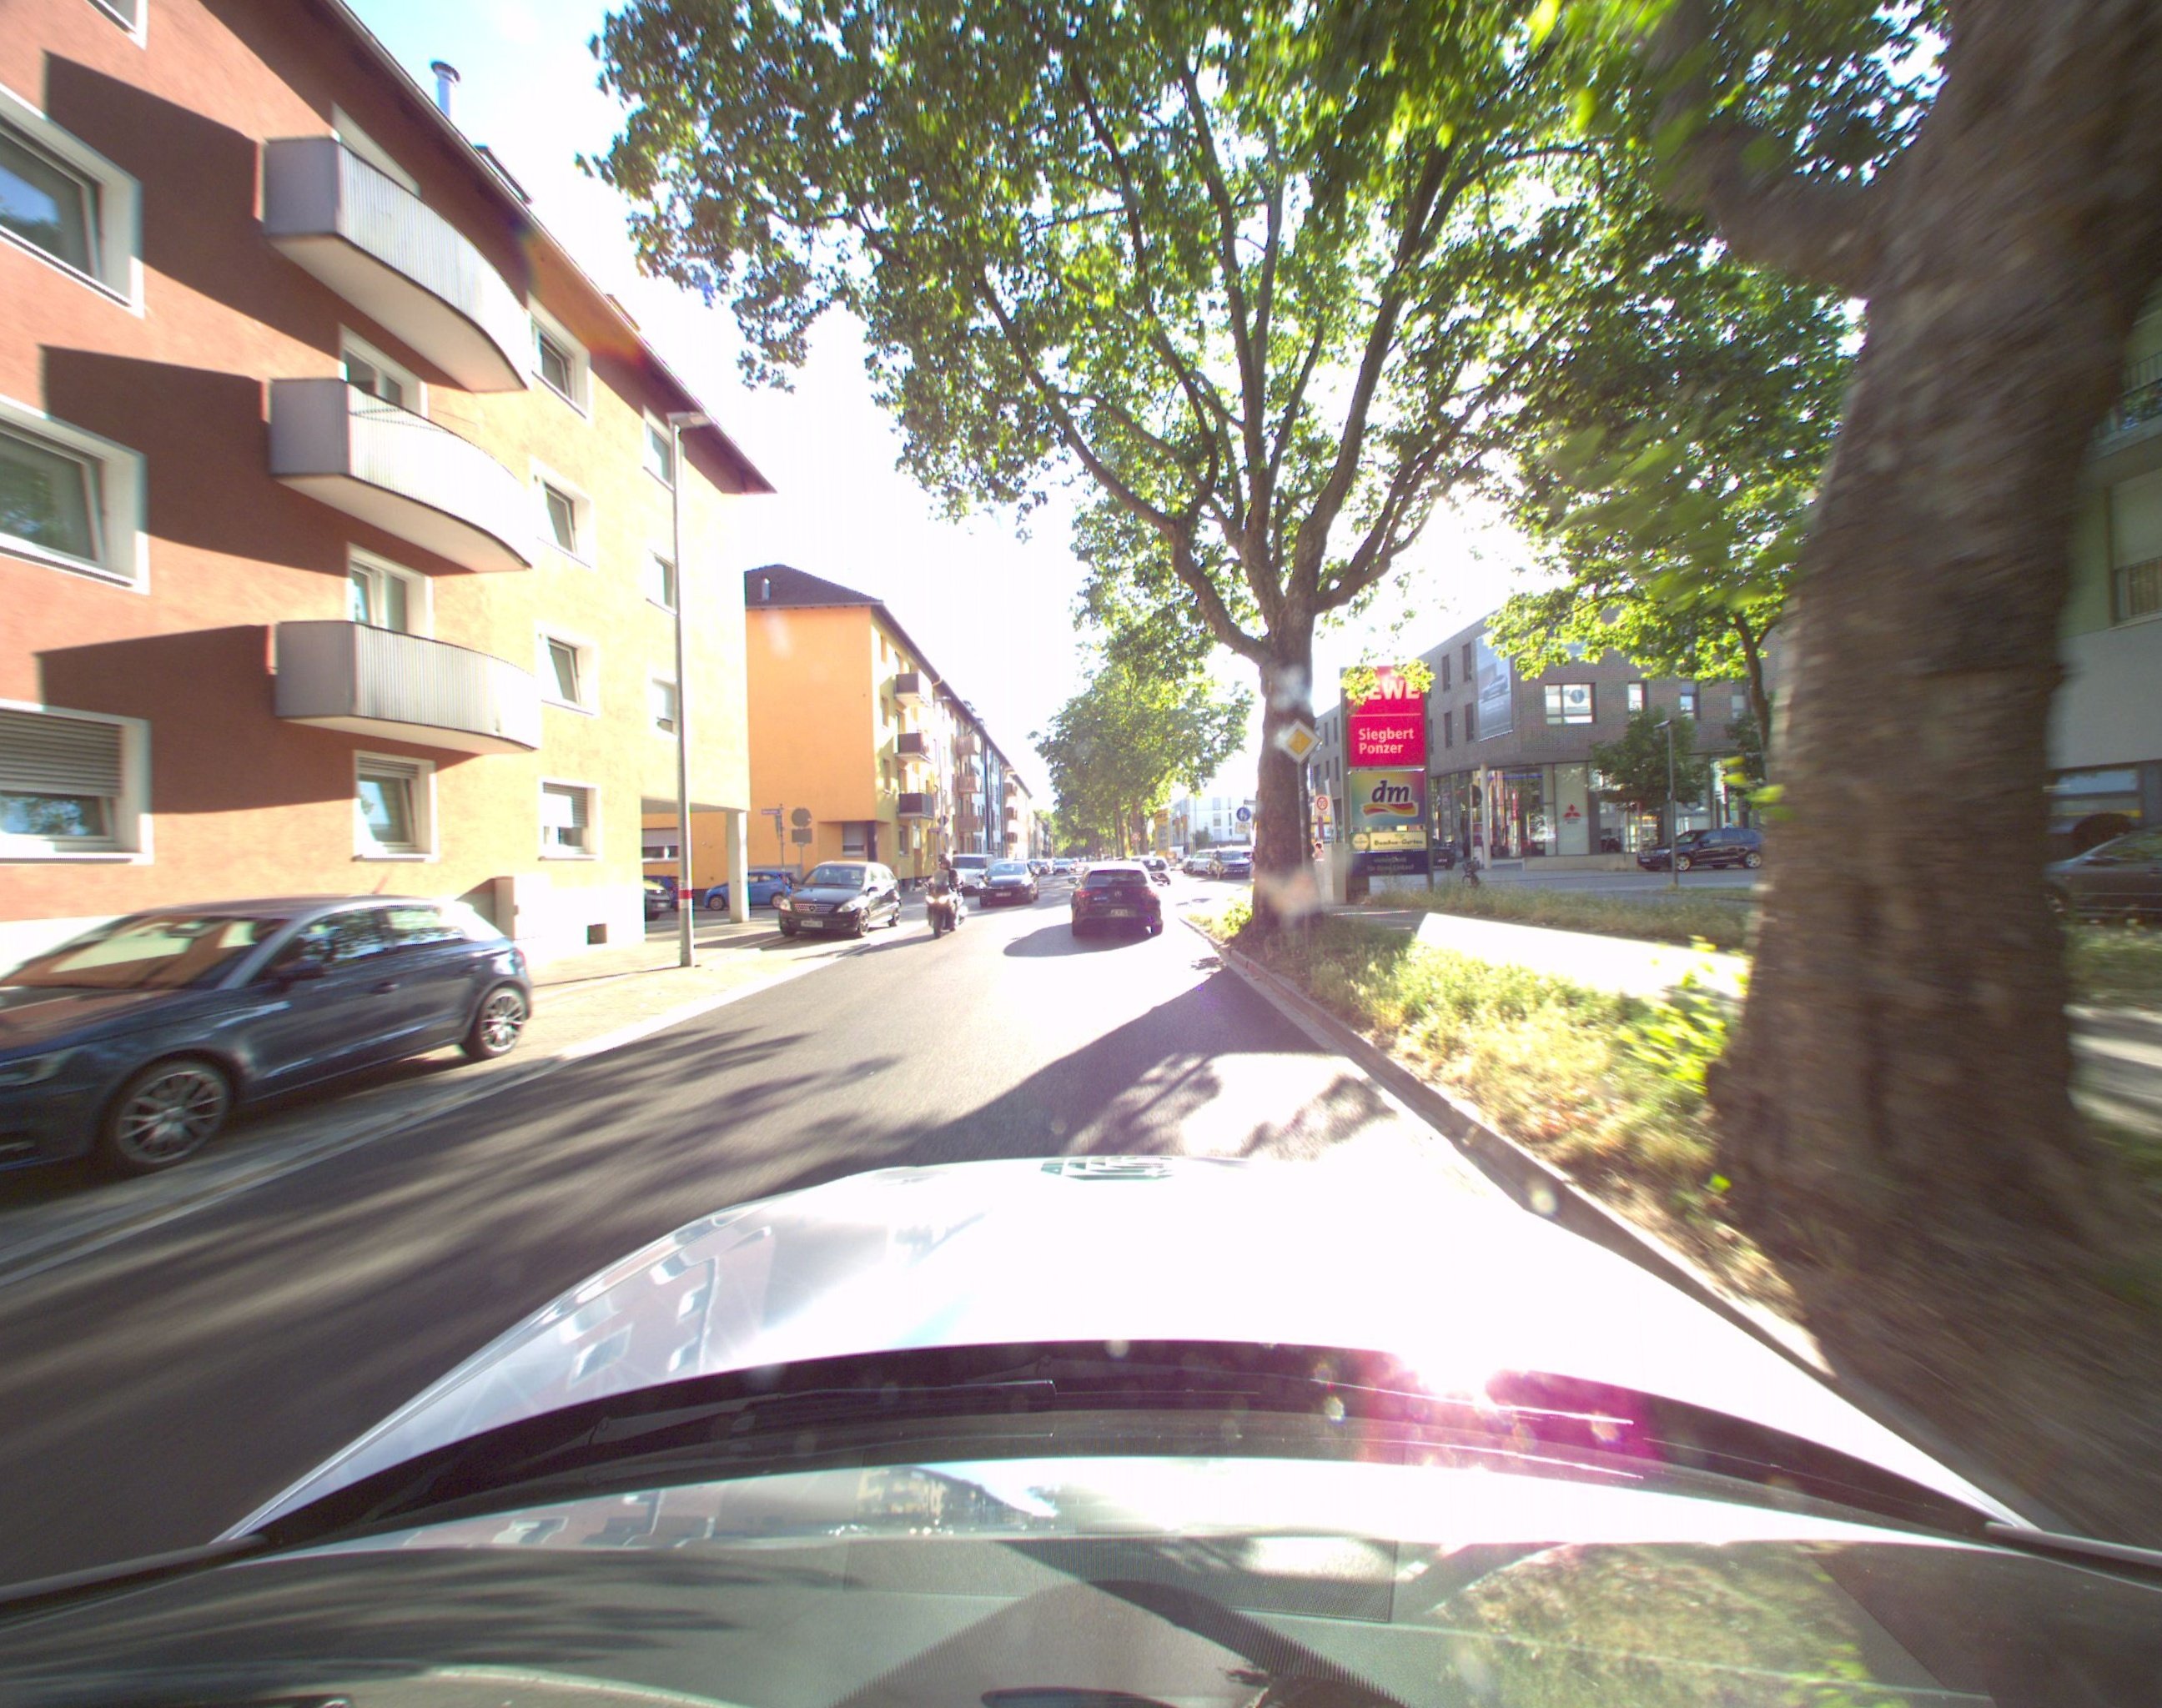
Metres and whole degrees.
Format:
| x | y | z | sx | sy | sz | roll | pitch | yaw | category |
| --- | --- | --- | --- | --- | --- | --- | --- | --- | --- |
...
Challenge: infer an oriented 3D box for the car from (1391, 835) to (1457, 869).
| x | y | z | sx | sy | sz | roll | pitch | yaw | category |
| --- | --- | --- | --- | --- | --- | --- | --- | --- | --- |
| 18.970 | -0.089 | 45.244 | 1.978 | 1.733 | 4.182 | -2 | 0 | 1 | car |

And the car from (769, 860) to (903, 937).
| x | y | z | sx | sy | sz | roll | pitch | yaw | category |
| --- | --- | --- | --- | --- | --- | --- | --- | --- | --- |
| -5.404 | 0.922 | 18.519 | 1.671 | 1.524 | 4.023 | 0 | 0 | 2 | car |

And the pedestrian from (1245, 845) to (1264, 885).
| x | y | z | sx | sy | sz | roll | pitch | yaw | category |
| --- | --- | --- | --- | --- | --- | --- | --- | --- | --- |
| 7.595 | 0.463 | 35.647 | 0.687 | 1.723 | 0.724 | -3 | -1 | 14 | pedestrian |

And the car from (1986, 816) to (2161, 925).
| x | y | z | sx | sy | sz | roll | pitch | yaw | category |
| --- | --- | --- | --- | --- | --- | --- | --- | --- | --- |
| 15.456 | 0.187 | 10.994 | 1.853 | 1.468 | 4.122 | -2 | 0 | -1 | car |

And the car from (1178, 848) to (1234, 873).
| x | y | z | sx | sy | sz | roll | pitch | yaw | category |
| --- | --- | --- | --- | --- | --- | --- | --- | --- | --- |
| 9.044 | 0.478 | 58.773 | 3.837 | 1.578 | 1.727 | -3 | 0 | -37 | car |

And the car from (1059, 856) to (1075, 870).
| x | y | z | sx | sy | sz | roll | pitch | yaw | category |
| --- | --- | --- | --- | --- | --- | --- | --- | --- | --- |
| -1.635 | 0.990 | 94.960 | 1.658 | 1.523 | 4.412 | -3 | 0 | 0 | car |

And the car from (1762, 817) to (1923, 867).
| x | y | z | sx | sy | sz | roll | pitch | yaw | category |
| --- | --- | --- | --- | --- | --- | --- | --- | --- | --- |
| 30.220 | -0.467 | 32.426 | 4.468 | 1.662 | 2.030 | -3 | 0 | 0 | car |

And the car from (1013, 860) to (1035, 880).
| x | y | z | sx | sy | sz | roll | pitch | yaw | category |
| --- | --- | --- | --- | --- | --- | --- | --- | --- | --- |
| -4.586 | 1.287 | 65.863 | 1.543 | 1.524 | 4.004 | 0 | 0 | -1 | car |

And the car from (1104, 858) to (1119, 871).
| x | y | z | sx | sy | sz | roll | pitch | yaw | category |
| --- | --- | --- | --- | --- | --- | --- | --- | --- | --- |
| 3.804 | 1.292 | 102.201 | 1.628 | 1.557 | 3.599 | 0 | -1 | -1 | car |

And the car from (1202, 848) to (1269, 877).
| x | y | z | sx | sy | sz | roll | pitch | yaw | category |
| --- | --- | --- | --- | --- | --- | --- | --- | --- | --- |
| 9.400 | 0.507 | 49.477 | 3.834 | 1.545 | 1.645 | -2 | 0 | -33 | car |

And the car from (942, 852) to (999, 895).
| x | y | z | sx | sy | sz | roll | pitch | yaw | category |
| --- | --- | --- | --- | --- | --- | --- | --- | --- | --- |
| -5.159 | 0.876 | 38.751 | 1.727 | 1.907 | 5.212 | -1 | 0 | 2 | car |

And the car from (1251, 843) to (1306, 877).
| x | y | z | sx | sy | sz | roll | pitch | yaw | category |
| --- | --- | --- | --- | --- | --- | --- | --- | --- | --- |
| 10.926 | 0.319 | 45.324 | 1.821 | 1.731 | 4.365 | -2 | 0 | -2 | car |

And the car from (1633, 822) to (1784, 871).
| x | y | z | sx | sy | sz | roll | pitch | yaw | category |
| --- | --- | --- | --- | --- | --- | --- | --- | --- | --- |
| 24.933 | -0.301 | 32.459 | 4.471 | 1.662 | 2.029 | -3 | 0 | -2 | car |

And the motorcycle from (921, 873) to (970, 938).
| x | y | z | sx | sy | sz | roll | pitch | yaw | category |
| --- | --- | --- | --- | --- | --- | --- | --- | --- | --- |
| -2.887 | 1.063 | 17.571 | 0.545 | 1.241 | 2.264 | -4 | -1 | 1 | motorcycle |

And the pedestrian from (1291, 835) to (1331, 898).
| x | y | z | sx | sy | sz | roll | pitch | yaw | category |
| --- | --- | --- | --- | --- | --- | --- | --- | --- | --- |
| 6.661 | 0.368 | 23.565 | 0.769 | 1.761 | 0.660 | -4 | -1 | -17 | pedestrian |

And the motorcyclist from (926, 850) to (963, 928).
| x | y | z | sx | sy | sz | roll | pitch | yaw | category |
| --- | --- | --- | --- | --- | --- | --- | --- | --- | --- |
| -2.920 | 0.732 | 17.482 | 0.584 | 1.605 | 0.831 | -2 | 0 | 1 | motorcyclist |

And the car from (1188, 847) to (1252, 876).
| x | y | z | sx | sy | sz | roll | pitch | yaw | category |
| --- | --- | --- | --- | --- | --- | --- | --- | --- | --- |
| 8.896 | 0.481 | 52.033 | 3.836 | 1.609 | 1.722 | -3 | 0 | -35 | car |

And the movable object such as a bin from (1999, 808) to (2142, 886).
| x | y | z | sx | sy | sz | roll | pitch | yaw | category |
| --- | --- | --- | --- | --- | --- | --- | --- | --- | --- |
| 19.996 | -0.135 | 16.513 | 1.185 | 1.463 | 1.412 | -2 | 0 | 12 | movable object such as a bin |

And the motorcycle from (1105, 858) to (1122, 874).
| x | y | z | sx | sy | sz | roll | pitch | yaw | category |
| --- | --- | --- | --- | --- | --- | --- | --- | --- | --- |
| 3.273 | 1.219 | 82.912 | 1.648 | 1.557 | 0.607 | 0 | -1 | -22 | motorcycle |

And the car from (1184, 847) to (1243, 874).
| x | y | z | sx | sy | sz | roll | pitch | yaw | category |
| --- | --- | --- | --- | --- | --- | --- | --- | --- | --- |
| 9.026 | 0.437 | 55.221 | 3.837 | 1.578 | 1.722 | -3 | 0 | -37 | car |

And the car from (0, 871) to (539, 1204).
| x | y | z | sx | sy | sz | roll | pitch | yaw | category |
| --- | --- | --- | --- | --- | --- | --- | --- | --- | --- |
| -5.816 | 0.902 | 5.613 | 1.671 | 1.486 | 3.602 | 0 | 0 | 1 | car |

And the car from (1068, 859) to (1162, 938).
| x | y | z | sx | sy | sz | roll | pitch | yaw | category |
| --- | --- | --- | --- | --- | --- | --- | --- | --- | --- |
| 0.785 | 0.834 | 17.049 | 1.736 | 1.443 | 3.974 | 0 | 0 | 4 | car |

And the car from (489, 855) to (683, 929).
| x | y | z | sx | sy | sz | roll | pitch | yaw | category |
| --- | --- | --- | --- | --- | --- | --- | --- | --- | --- |
| -15.065 | 1.129 | 24.946 | 4.728 | 2.014 | 1.920 | -2 | -1 | 2 | car |

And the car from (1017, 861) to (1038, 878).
| x | y | z | sx | sy | sz | roll | pitch | yaw | category |
| --- | --- | --- | --- | --- | --- | --- | --- | --- | --- |
| -4.681 | 1.341 | 71.717 | 1.591 | 1.434 | 4.217 | 0 | 0 | 0 | car |

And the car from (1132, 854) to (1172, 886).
| x | y | z | sx | sy | sz | roll | pitch | yaw | category |
| --- | --- | --- | --- | --- | --- | --- | --- | --- | --- |
| 3.679 | 0.830 | 42.611 | 1.630 | 1.468 | 4.019 | -4 | -1 | -1 | car |

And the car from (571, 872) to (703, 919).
| x | y | z | sx | sy | sz | roll | pitch | yaw | category |
| --- | --- | --- | --- | --- | --- | --- | --- | --- | --- |
| -16.800 | 1.557 | 30.952 | 3.975 | 1.567 | 1.749 | -2 | -1 | 1 | car |

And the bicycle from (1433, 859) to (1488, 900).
| x | y | z | sx | sy | sz | roll | pitch | yaw | category |
| --- | --- | --- | --- | --- | --- | --- | --- | --- | --- |
| 9.708 | 0.651 | 20.895 | 0.383 | 1.003 | 1.478 | -2 | 0 | -15 | bicycle |

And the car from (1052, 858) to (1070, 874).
| x | y | z | sx | sy | sz | roll | pitch | yaw | category |
| --- | --- | --- | --- | --- | --- | --- | --- | --- | --- |
| -2.032 | 1.215 | 82.292 | 1.634 | 1.523 | 3.934 | -1 | 0 | 0 | car |

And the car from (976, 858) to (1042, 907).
| x | y | z | sx | sy | sz | roll | pitch | yaw | category |
| --- | --- | --- | --- | --- | --- | --- | --- | --- | --- |
| -2.428 | 0.933 | 28.461 | 1.765 | 1.478 | 4.323 | -3 | 0 | 1 | car |

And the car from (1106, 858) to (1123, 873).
| x | y | z | sx | sy | sz | roll | pitch | yaw | category |
| --- | --- | --- | --- | --- | --- | --- | --- | --- | --- |
| 3.662 | 1.251 | 90.142 | 1.717 | 1.557 | 3.599 | 0 | -1 | -1 | car |

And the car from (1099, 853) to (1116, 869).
| x | y | z | sx | sy | sz | roll | pitch | yaw | category |
| --- | --- | --- | --- | --- | --- | --- | --- | --- | --- |
| 3.747 | 1.018 | 115.309 | 1.989 | 2.014 | 3.995 | -1 | -2 | -3 | car |

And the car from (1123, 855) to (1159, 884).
| x | y | z | sx | sy | sz | roll | pitch | yaw | category |
| --- | --- | --- | --- | --- | --- | --- | --- | --- | --- |
| 3.590 | 0.926 | 49.443 | 1.804 | 1.539 | 4.584 | -5 | -1 | 1 | car |

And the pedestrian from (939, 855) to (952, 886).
| x | y | z | sx | sy | sz | roll | pitch | yaw | category |
| --- | --- | --- | --- | --- | --- | --- | --- | --- | --- |
| -7.917 | 0.954 | 47.555 | 0.585 | 1.790 | 0.642 | -3 | -1 | 1 | pedestrian |

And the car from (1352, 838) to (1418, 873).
| x | y | z | sx | sy | sz | roll | pitch | yaw | category |
| --- | --- | --- | --- | --- | --- | --- | --- | --- | --- |
| 16.528 | 0.080 | 44.472 | 1.870 | 1.733 | 4.178 | -2 | 0 | -2 | car |

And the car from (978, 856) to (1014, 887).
| x | y | z | sx | sy | sz | roll | pitch | yaw | category |
| --- | --- | --- | --- | --- | --- | --- | --- | --- | --- |
| -5.088 | 1.011 | 49.241 | 1.740 | 1.787 | 4.548 | 0 | 0 | -1 | car |

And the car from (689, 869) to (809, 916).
| x | y | z | sx | sy | sz | roll | pitch | yaw | category |
| --- | --- | --- | --- | --- | --- | --- | --- | --- | --- |
| -12.523 | 1.427 | 30.866 | 3.770 | 1.567 | 1.749 | -2 | -1 | 1 | car |

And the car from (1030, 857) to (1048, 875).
| x | y | z | sx | sy | sz | roll | pitch | yaw | category |
| --- | --- | --- | --- | --- | --- | --- | --- | --- | --- |
| -4.097 | 1.139 | 79.485 | 1.592 | 1.630 | 3.836 | 0 | 0 | -1 | car |

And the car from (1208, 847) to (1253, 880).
| x | y | z | sx | sy | sz | roll | pitch | yaw | category |
| --- | --- | --- | --- | --- | --- | --- | --- | --- | --- |
| 8.239 | 0.512 | 45.256 | 1.746 | 1.669 | 4.158 | -2 | 0 | 0 | car |
